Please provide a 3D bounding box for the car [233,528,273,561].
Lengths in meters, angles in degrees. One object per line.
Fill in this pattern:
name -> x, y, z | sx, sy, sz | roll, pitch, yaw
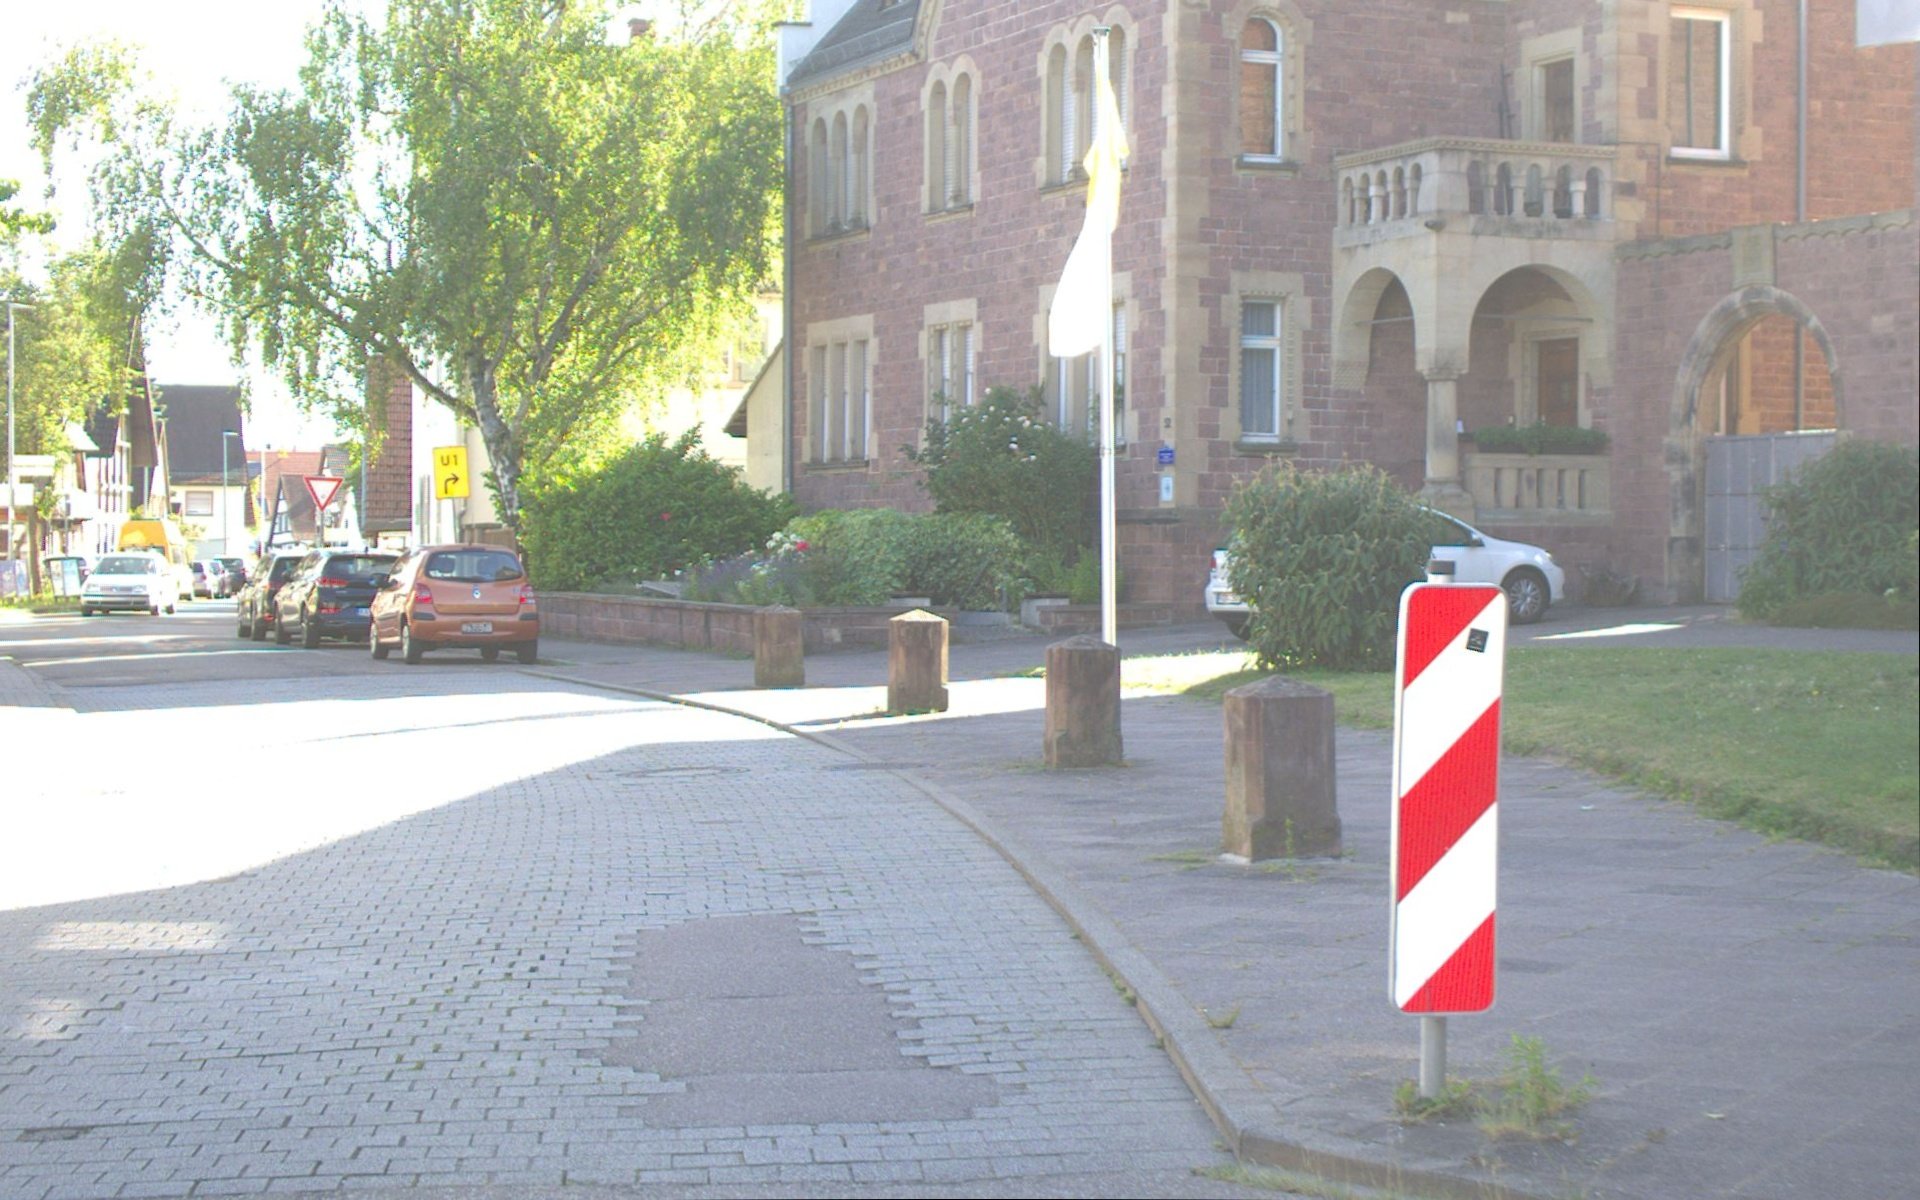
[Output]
car -> -30.688, -2.408, 149.199 | 1.587, 1.438, 3.616 | 0, 1, -10

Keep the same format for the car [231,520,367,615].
car -> -10.717, -0.553, 55.522 | 1.807, 1.431, 4.287 | -1, 2, -16

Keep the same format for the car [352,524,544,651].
car -> -6.448, -0.192, 43.040 | 1.647, 1.473, 3.935 | -1, 2, -19

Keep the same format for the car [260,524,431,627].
car -> -9.168, -0.399, 51.051 | 1.807, 1.431, 4.287 | -1, 2, -19

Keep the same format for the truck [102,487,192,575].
truck -> -27.222, -2.294, 115.289 | 2.267, 2.858, 5.784 | -1, 1, -7

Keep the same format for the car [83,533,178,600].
car -> -18.902, -0.789, 78.480 | 1.670, 1.397, 3.893 | -2, 2, -8

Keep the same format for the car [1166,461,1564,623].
car -> 4.520, -0.645, 38.379 | 3.897, 1.491, 1.905 | -5, 2, -25

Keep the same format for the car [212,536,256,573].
car -> -28.991, -1.837, 137.406 | 1.587, 1.438, 3.616 | 0, 1, -10
